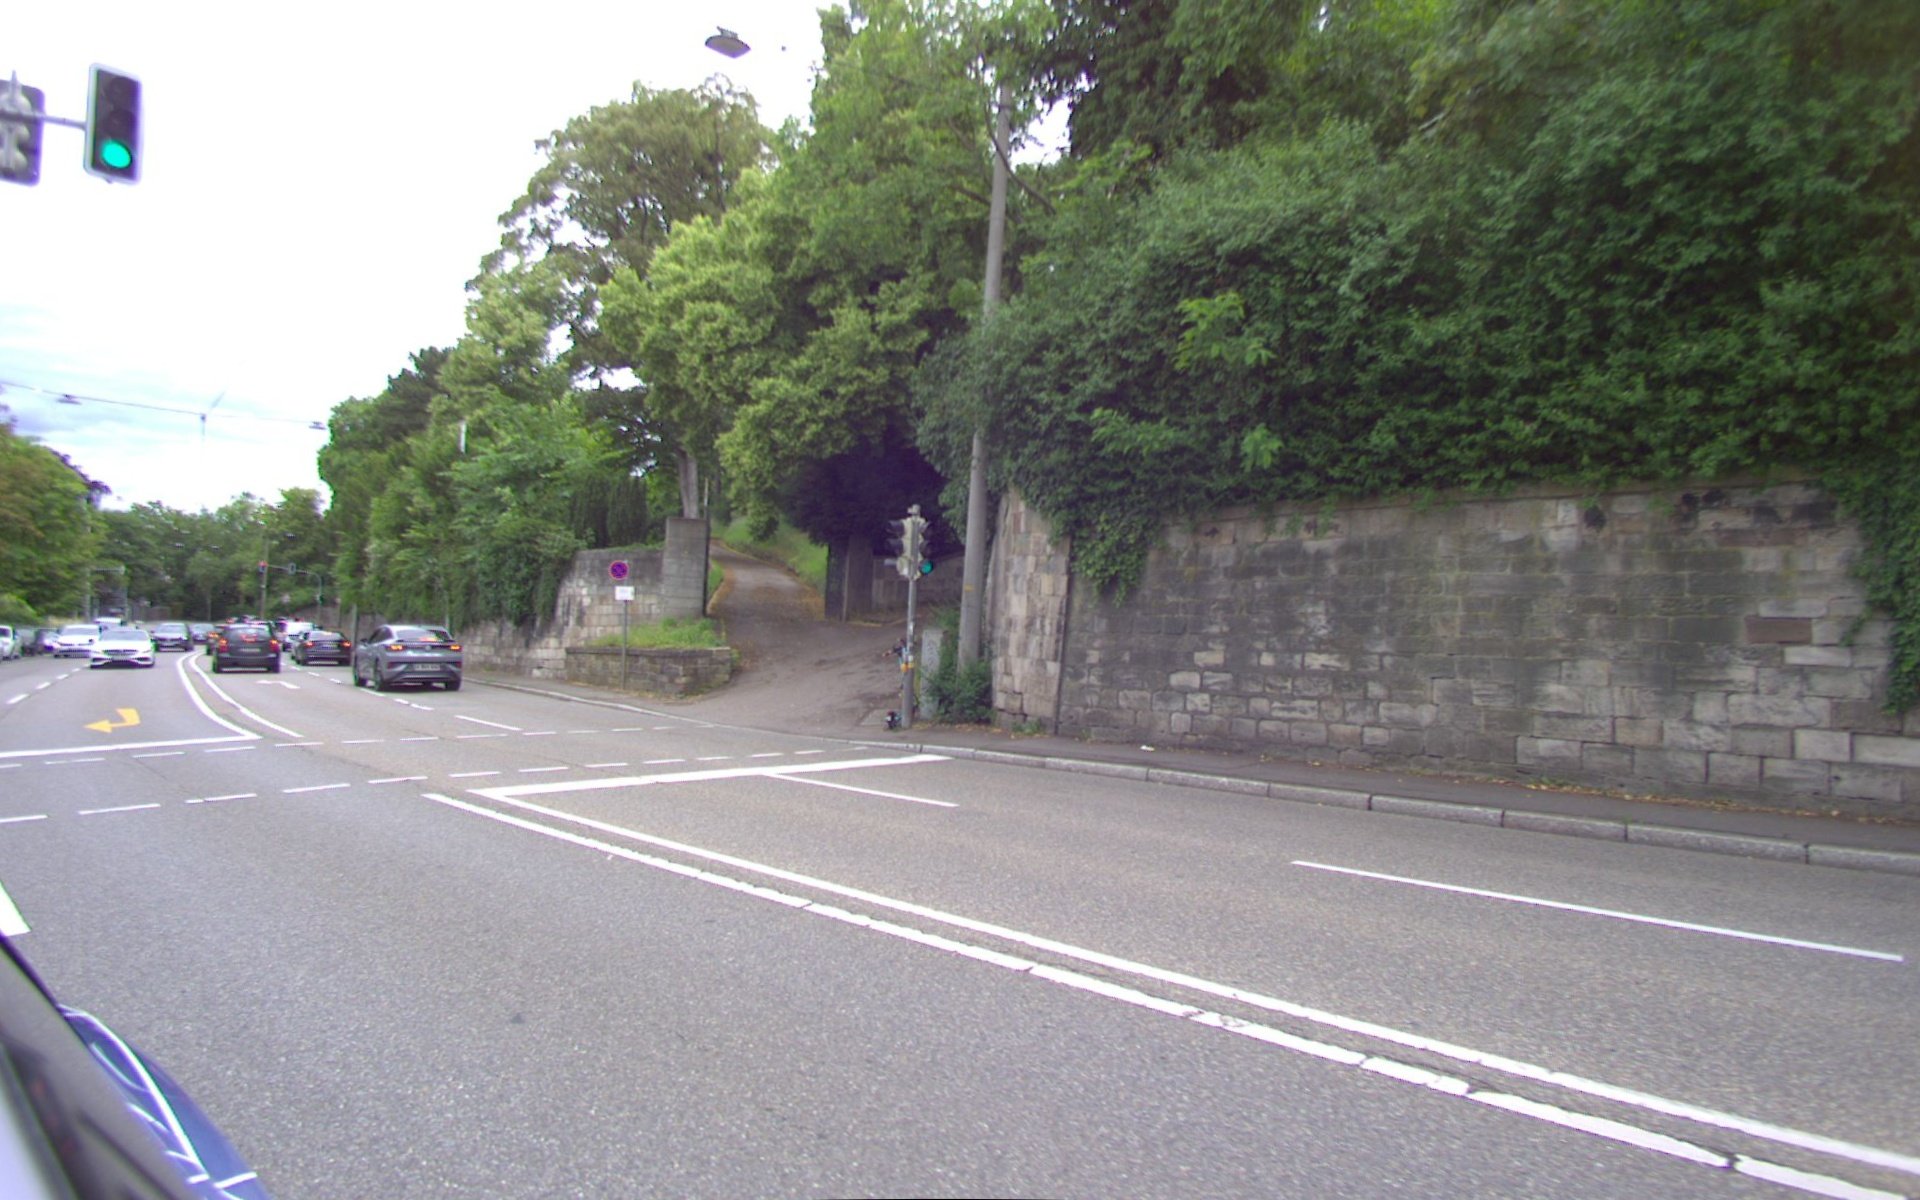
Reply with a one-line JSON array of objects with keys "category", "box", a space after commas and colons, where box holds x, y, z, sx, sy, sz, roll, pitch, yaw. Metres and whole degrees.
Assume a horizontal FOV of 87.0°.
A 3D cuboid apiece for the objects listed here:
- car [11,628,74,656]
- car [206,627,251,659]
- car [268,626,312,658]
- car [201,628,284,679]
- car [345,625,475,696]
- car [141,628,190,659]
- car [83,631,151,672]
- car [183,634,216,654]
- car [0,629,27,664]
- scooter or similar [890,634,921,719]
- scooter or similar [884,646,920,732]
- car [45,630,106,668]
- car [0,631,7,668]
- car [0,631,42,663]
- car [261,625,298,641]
[{"category": "car", "box": [-49.562, 2.251, 54.756, 1.746, 1.409, 4.563, 4, -3, -33]}, {"category": "car", "box": [-39.389, 2.292, 54.458, 1.824, 1.645, 4.370, 2, -3, -37]}, {"category": "car", "box": [-41.915, 2.615, 63.266, 1.868, 1.862, 4.405, 3, -3, -38]}, {"category": "car", "box": [-23.870, 1.761, 33.632, 1.733, 1.578, 3.683, 4, -4, -43]}, {"category": "car", "box": [-13.953, 1.500, 25.547, 1.968, 1.620, 4.484, 5, -5, -40]}, {"category": "car", "box": [-45.791, 2.502, 58.297, 1.929, 1.753, 4.005, 2, -3, -41]}, {"category": "car", "box": [-30.689, 1.878, 36.849, 1.776, 1.401, 3.533, 3, -4, -40]}, {"category": "car", "box": [-54.964, 3.206, 73.209, 1.806, 1.387, 4.009, 2, -3, -36]}, {"category": "car", "box": [-42.268, 2.035, 44.251, 1.692, 1.483, 4.047, 3, -3, -37]}, {"category": "scooter or similar", "box": [-0.958, 1.314, 17.630, 0.428, 1.246, 1.352, -3, 5, -5]}, {"category": "scooter or similar", "box": [-0.914, 1.399, 16.148, 0.428, 1.246, 1.098, -2, 1, 2]}, {"category": "car", "box": [-42.882, 2.353, 49.036, 1.930, 1.785, 4.003, 3, -3, -44]}, {"category": "car", "box": [-38.809, 1.930, 39.565, 1.653, 1.472, 4.375, 4, -4, -36]}, {"category": "car", "box": [-46.990, 2.329, 50.270, 1.540, 1.433, 3.433, 6, -4, -35]}, {"category": "car", "box": [-65.265, 3.144, 97.044, 4.454, 1.420, 1.823, -1, -4, 41]}]
